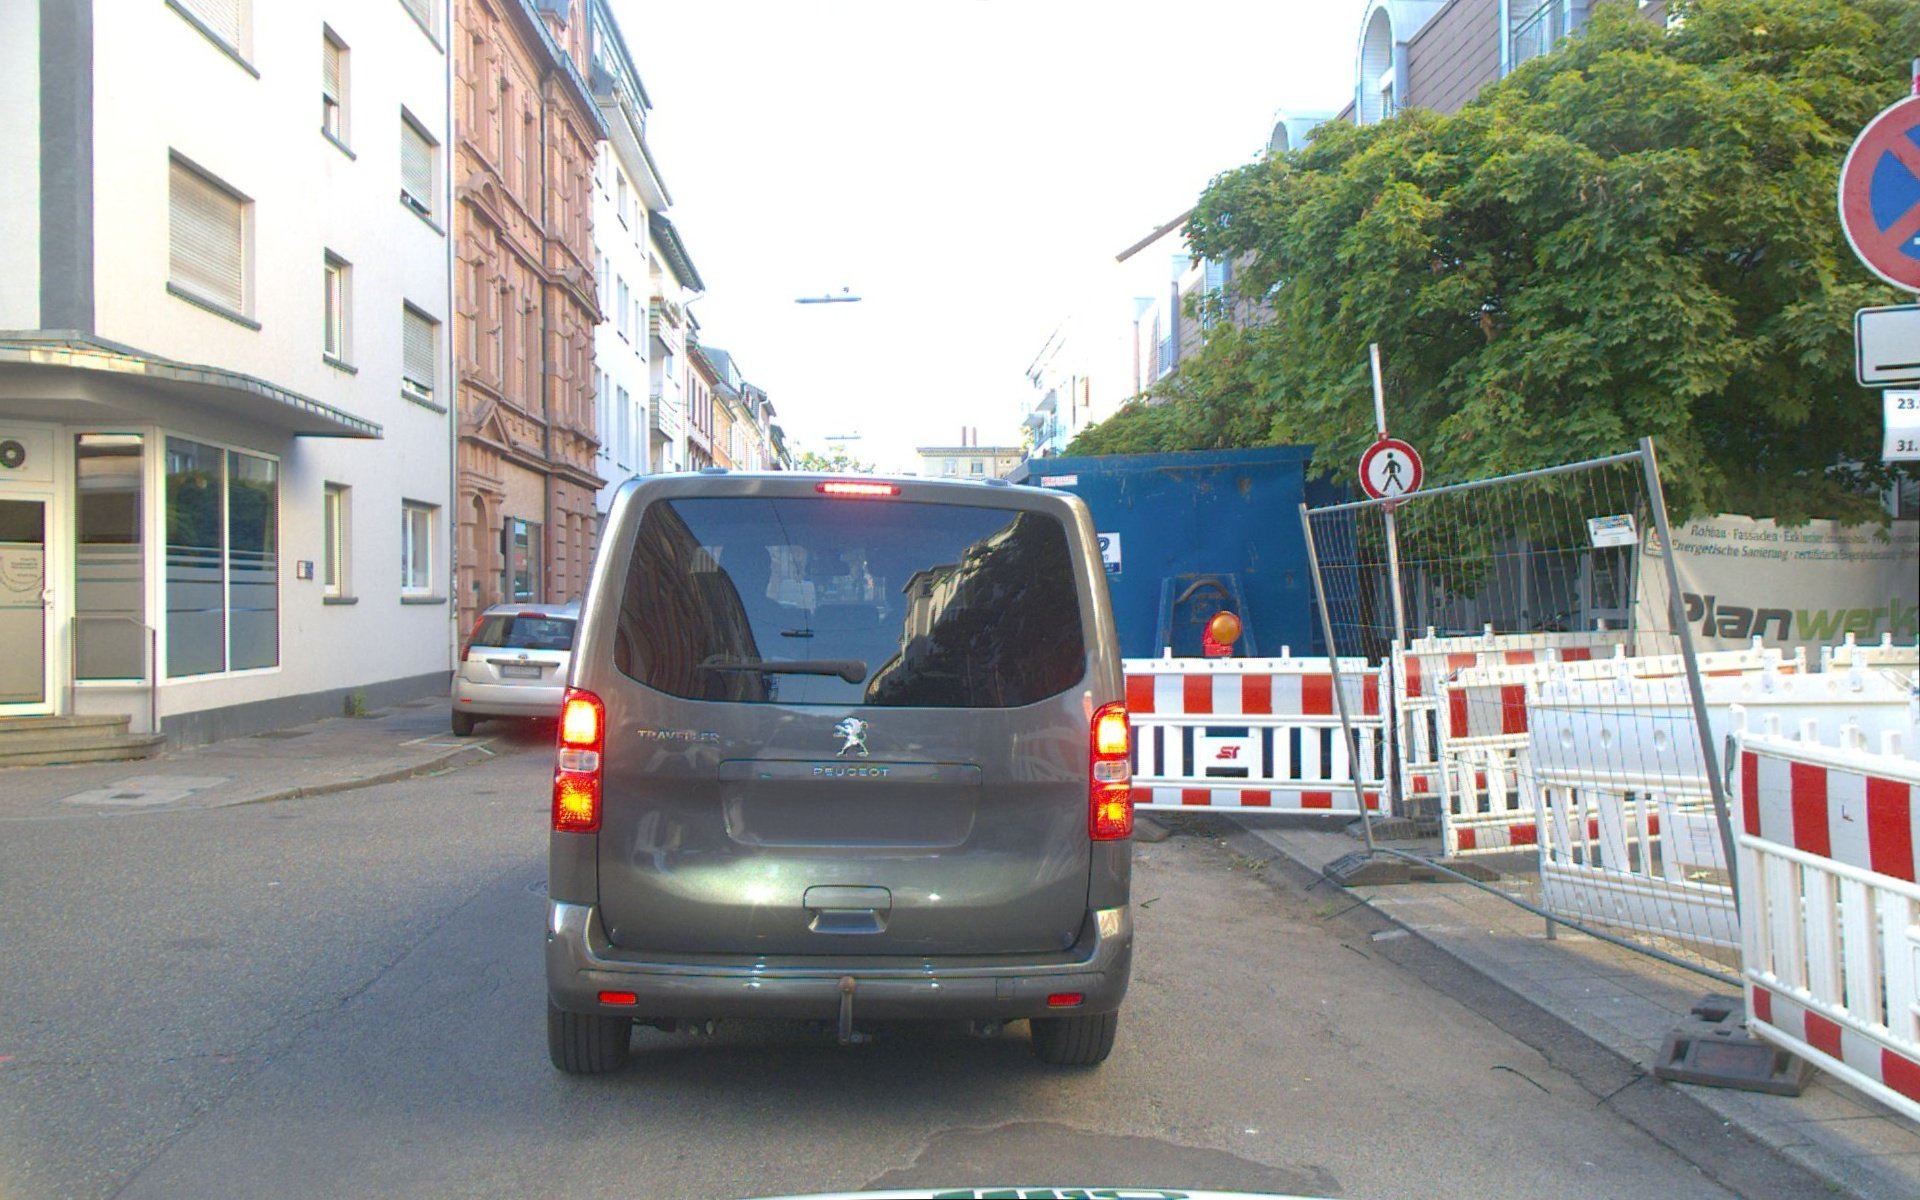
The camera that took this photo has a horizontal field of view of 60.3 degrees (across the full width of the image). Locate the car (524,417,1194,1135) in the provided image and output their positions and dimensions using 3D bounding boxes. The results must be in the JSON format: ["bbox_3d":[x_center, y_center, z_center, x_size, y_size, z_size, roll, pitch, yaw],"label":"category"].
[{"bbox_3d":[-0.494,0.493,6.647,1.829,1.919,4.229,0,-1,-7],"label":"car"}]

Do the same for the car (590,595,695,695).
[{"bbox_3d":[-6.032,0.837,31.702,1.635,1.695,3.087,4,-1,-7],"label":"car"}]

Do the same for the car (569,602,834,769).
[{"bbox_3d":[-2.517,0.776,17.343,1.887,1.477,4.812,0,0,2],"label":"car"}]

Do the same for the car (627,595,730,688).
[{"bbox_3d":[-5.945,0.855,35.347,1.856,1.749,3.748,4,-1,-7],"label":"car"}]

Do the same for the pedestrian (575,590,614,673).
[{"bbox_3d":[-7.588,0.652,34.372,0.726,1.693,0.702,-1,0,-8],"label":"pedestrian"}]

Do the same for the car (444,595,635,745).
[{"bbox_3d":[-4.809,0.764,19.332,1.625,1.485,3.413,4,-1,-7],"label":"car"}]

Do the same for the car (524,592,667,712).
[{"bbox_3d":[-5.350,0.734,24.632,1.625,1.552,3.413,4,-1,-7],"label":"car"}]
